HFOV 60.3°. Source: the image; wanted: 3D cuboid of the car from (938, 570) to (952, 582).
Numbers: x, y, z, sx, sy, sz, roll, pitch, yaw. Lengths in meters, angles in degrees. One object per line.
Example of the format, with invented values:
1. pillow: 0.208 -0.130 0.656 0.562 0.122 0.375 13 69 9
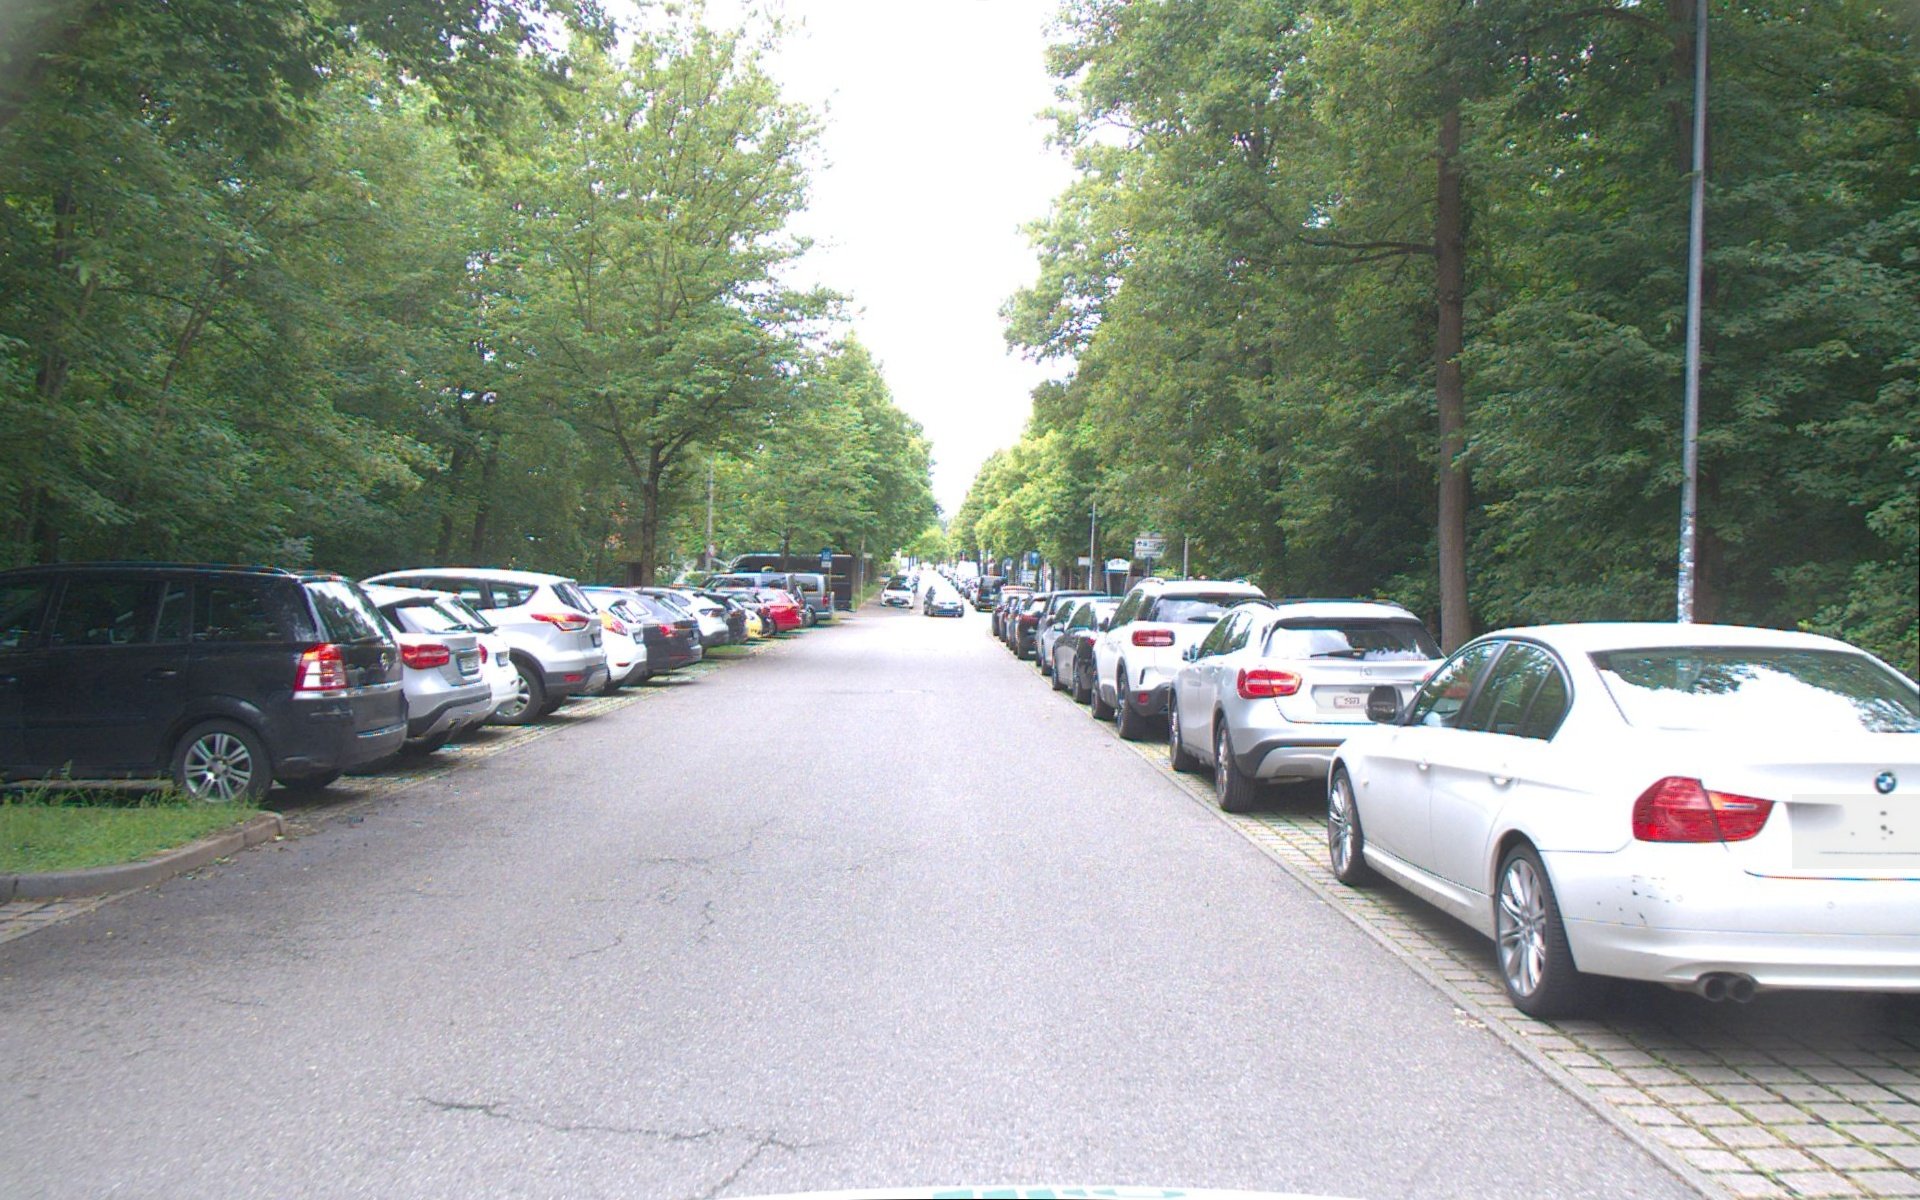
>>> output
1. car: -2.167 -3.564 244.829 1.859 1.736 4.065 1 0 2

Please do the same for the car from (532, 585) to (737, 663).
1. car: -6.720 0.488 34.446 3.906 1.493 1.714 1 0 -2

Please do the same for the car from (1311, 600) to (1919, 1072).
1. car: 2.938 0.747 7.381 1.701 1.431 4.426 1 0 -1

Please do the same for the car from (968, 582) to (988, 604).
1. car: 1.298 -0.518 122.049 1.439 1.558 3.189 1 1 0

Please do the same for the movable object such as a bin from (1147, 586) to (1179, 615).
1. movable object such as a bin: 10.322 0.036 84.077 1.276 1.468 1.061 2 -1 -45

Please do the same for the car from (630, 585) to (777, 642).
1. car: -7.213 0.376 46.805 3.908 1.463 1.670 2 0 -4

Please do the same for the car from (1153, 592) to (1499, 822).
1. car: 2.732 0.704 13.453 1.701 1.505 4.769 1 0 0

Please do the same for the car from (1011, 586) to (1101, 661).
1. car: 2.178 0.505 38.634 1.701 1.617 4.381 1 0 -2

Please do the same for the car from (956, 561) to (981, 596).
1. car: 0.772 -1.984 151.539 2.139 3.068 4.897 1 1 0

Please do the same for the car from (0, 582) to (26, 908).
1. car: -6.315 0.666 6.872 3.904 1.473 1.696 0 0 1

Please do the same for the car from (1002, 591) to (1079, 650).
1. car: 2.086 0.514 43.997 1.701 1.457 4.500 1 0 -2

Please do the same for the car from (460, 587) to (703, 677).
1. car: -6.695 0.551 29.497 3.905 1.460 1.677 1 0 1

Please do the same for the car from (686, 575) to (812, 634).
1. car: -6.894 0.142 54.285 3.907 1.796 1.823 2 0 -3

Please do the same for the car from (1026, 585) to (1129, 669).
1. car: 2.361 0.518 34.049 1.701 1.595 4.007 1 0 -2

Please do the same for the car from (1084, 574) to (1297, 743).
1. car: 2.520 0.576 19.238 1.701 1.672 5.071 1 0 0

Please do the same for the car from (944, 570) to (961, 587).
1. car: -0.946 -2.702 211.375 1.952 2.049 4.001 1 0 2

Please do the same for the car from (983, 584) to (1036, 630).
1. car: 1.824 0.245 62.097 1.701 1.662 4.374 1 0 -2

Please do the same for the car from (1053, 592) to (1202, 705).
1. car: 2.388 0.644 24.646 1.701 1.500 4.605 1 0 -1

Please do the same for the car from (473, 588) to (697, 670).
1. car: -7.211 0.541 32.079 3.905 1.460 1.702 1 0 1

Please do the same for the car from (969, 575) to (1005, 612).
1. car: 1.485 -0.378 93.356 1.947 2.049 4.108 1 1 0

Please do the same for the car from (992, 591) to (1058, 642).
1. car: 1.940 0.465 50.692 1.701 1.457 4.500 1 0 -2

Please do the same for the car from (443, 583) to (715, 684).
1. car: -6.027 0.512 26.437 3.905 1.460 1.677 1 0 1

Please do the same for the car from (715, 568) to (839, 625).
1. car: -6.782 -0.134 61.637 4.412 2.013 1.890 1 -1 -2

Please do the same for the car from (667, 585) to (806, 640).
1. car: -6.641 0.362 49.453 3.907 1.502 1.779 2 0 -3

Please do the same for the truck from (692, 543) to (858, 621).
1. truck: -8.360 -0.760 74.277 7.119 3.292 3.431 1 -1 -12

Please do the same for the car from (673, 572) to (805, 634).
1. car: -6.879 0.092 51.849 3.906 1.895 1.813 0 0 -2

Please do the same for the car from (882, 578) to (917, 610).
1. car: -3.366 -0.332 90.895 1.730 1.623 4.213 4 0 -3

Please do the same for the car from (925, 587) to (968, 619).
1. car: -0.651 0.169 81.135 1.833 1.512 4.001 1 0 3

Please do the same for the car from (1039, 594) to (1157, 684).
1. car: 2.380 0.631 29.444 1.701 1.450 4.154 1 0 -1

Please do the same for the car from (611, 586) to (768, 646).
1. car: -7.218 0.410 44.417 3.906 1.463 1.617 2 0 -1

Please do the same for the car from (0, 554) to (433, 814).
1. car: -5.919 0.542 11.613 3.907 1.691 1.695 0 0 -3

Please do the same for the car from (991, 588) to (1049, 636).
1. car: 2.007 0.379 56.301 1.701 1.521 4.232 1 0 -2

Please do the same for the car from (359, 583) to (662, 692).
1. car: -6.469 0.547 24.063 3.905 1.461 1.648 1 -1 1

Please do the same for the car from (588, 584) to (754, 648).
1. car: -7.310 0.396 42.093 3.906 1.463 1.733 2 0 -1

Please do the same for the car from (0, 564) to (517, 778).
1. car: -5.973 0.559 14.080 3.905 1.691 1.814 0 0 -1

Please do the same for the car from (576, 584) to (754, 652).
1. car: -6.977 0.410 39.372 3.906 1.463 1.714 2 0 -1

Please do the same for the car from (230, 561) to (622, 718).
1. car: -5.993 0.430 18.922 3.907 1.691 1.813 0 0 -3
